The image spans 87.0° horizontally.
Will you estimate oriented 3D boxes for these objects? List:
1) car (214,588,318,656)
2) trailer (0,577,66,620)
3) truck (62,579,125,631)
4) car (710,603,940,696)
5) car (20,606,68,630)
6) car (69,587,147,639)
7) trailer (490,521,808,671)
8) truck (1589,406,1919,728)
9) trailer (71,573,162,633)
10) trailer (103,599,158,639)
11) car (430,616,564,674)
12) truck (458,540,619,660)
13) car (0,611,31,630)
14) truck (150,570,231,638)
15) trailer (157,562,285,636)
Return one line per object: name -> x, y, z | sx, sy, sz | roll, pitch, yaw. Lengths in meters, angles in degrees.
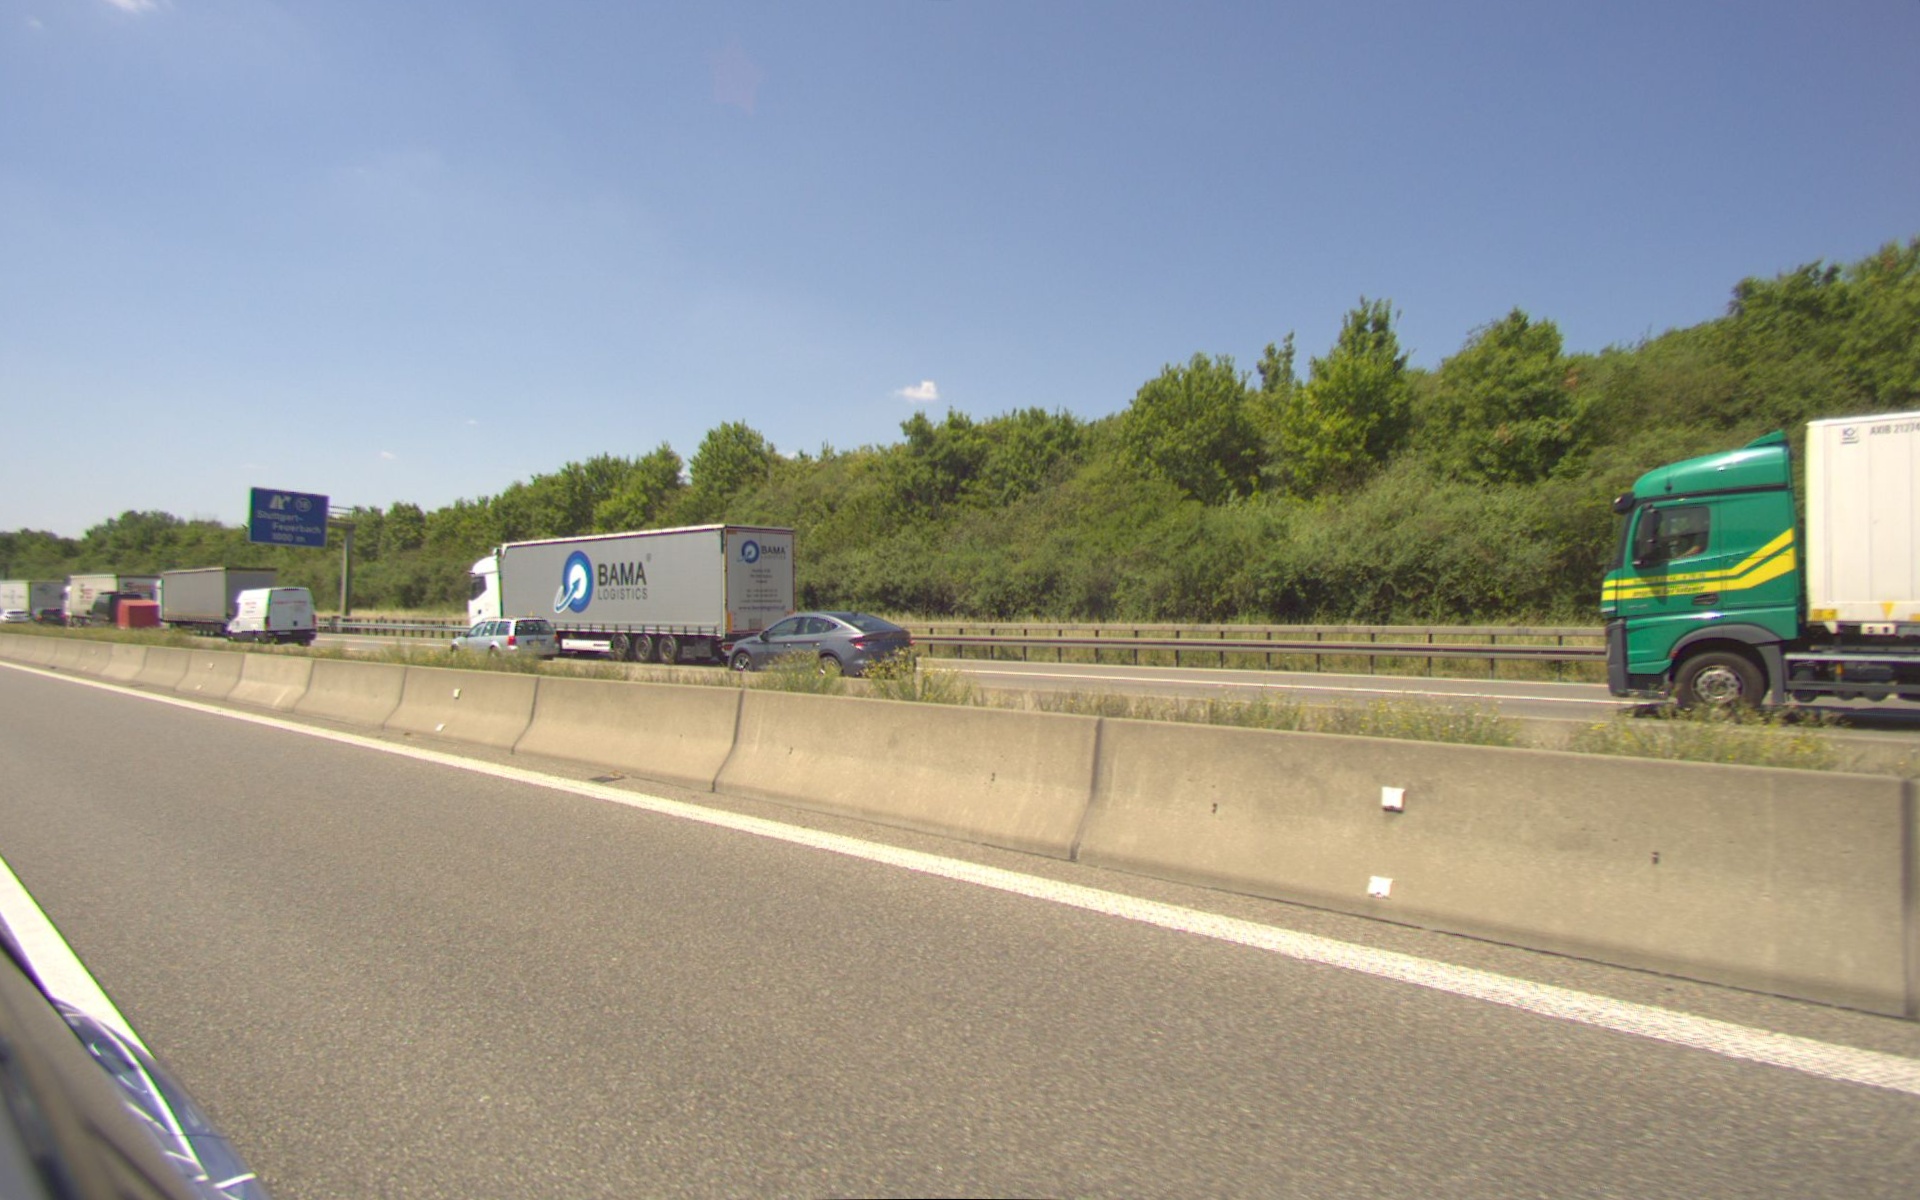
car -> -31.058, 0.899, 45.203 | 6.619, 2.807, 2.118 | 1, 1, 40
trailer -> -90.589, -0.139, 98.583 | 13.858, 3.902, 2.875 | 0, -1, 38
truck -> -70.508, 0.401, 82.360 | 6.090, 4.073, 2.729 | 0, 0, 38
car -> -2.940, 0.943, 21.280 | 5.110, 1.654, 1.842 | 1, 0, 40
car -> -69.149, 1.365, 76.378 | 4.785, 1.728, 1.974 | 0, -1, 38
car -> -52.552, 0.811, 62.353 | 6.540, 3.037, 2.216 | -1, -2, 37
trailer -> -10.860, -0.003, 33.469 | 14.437, 4.117, 2.872 | -1, -2, 41
truck -> 14.249, -0.415, 11.956 | 11.242, 3.929, 2.813 | -1, -3, 42
trailer -> -65.795, 0.253, 78.756 | 13.851, 4.310, 2.784 | 0, 0, 39
trailer -> -48.533, 1.138, 59.177 | 3.955, 2.270, 1.555 | -1, -2, 37
car -> -13.911, 1.291, 30.280 | 4.854, 1.471, 1.734 | 1, 1, 40
truck -> -15.788, 0.062, 37.723 | 6.599, 4.067, 2.824 | -1, -2, 40
car -> -77.614, 1.656, 82.698 | 4.401, 1.485, 1.863 | 1, 0, 38
truck -> -50.924, 0.261, 66.893 | 6.599, 4.241, 2.932 | 0, 0, 40
trailer -> -46.162, -0.059, 62.949 | 14.179, 4.238, 2.952 | 0, 0, 39
